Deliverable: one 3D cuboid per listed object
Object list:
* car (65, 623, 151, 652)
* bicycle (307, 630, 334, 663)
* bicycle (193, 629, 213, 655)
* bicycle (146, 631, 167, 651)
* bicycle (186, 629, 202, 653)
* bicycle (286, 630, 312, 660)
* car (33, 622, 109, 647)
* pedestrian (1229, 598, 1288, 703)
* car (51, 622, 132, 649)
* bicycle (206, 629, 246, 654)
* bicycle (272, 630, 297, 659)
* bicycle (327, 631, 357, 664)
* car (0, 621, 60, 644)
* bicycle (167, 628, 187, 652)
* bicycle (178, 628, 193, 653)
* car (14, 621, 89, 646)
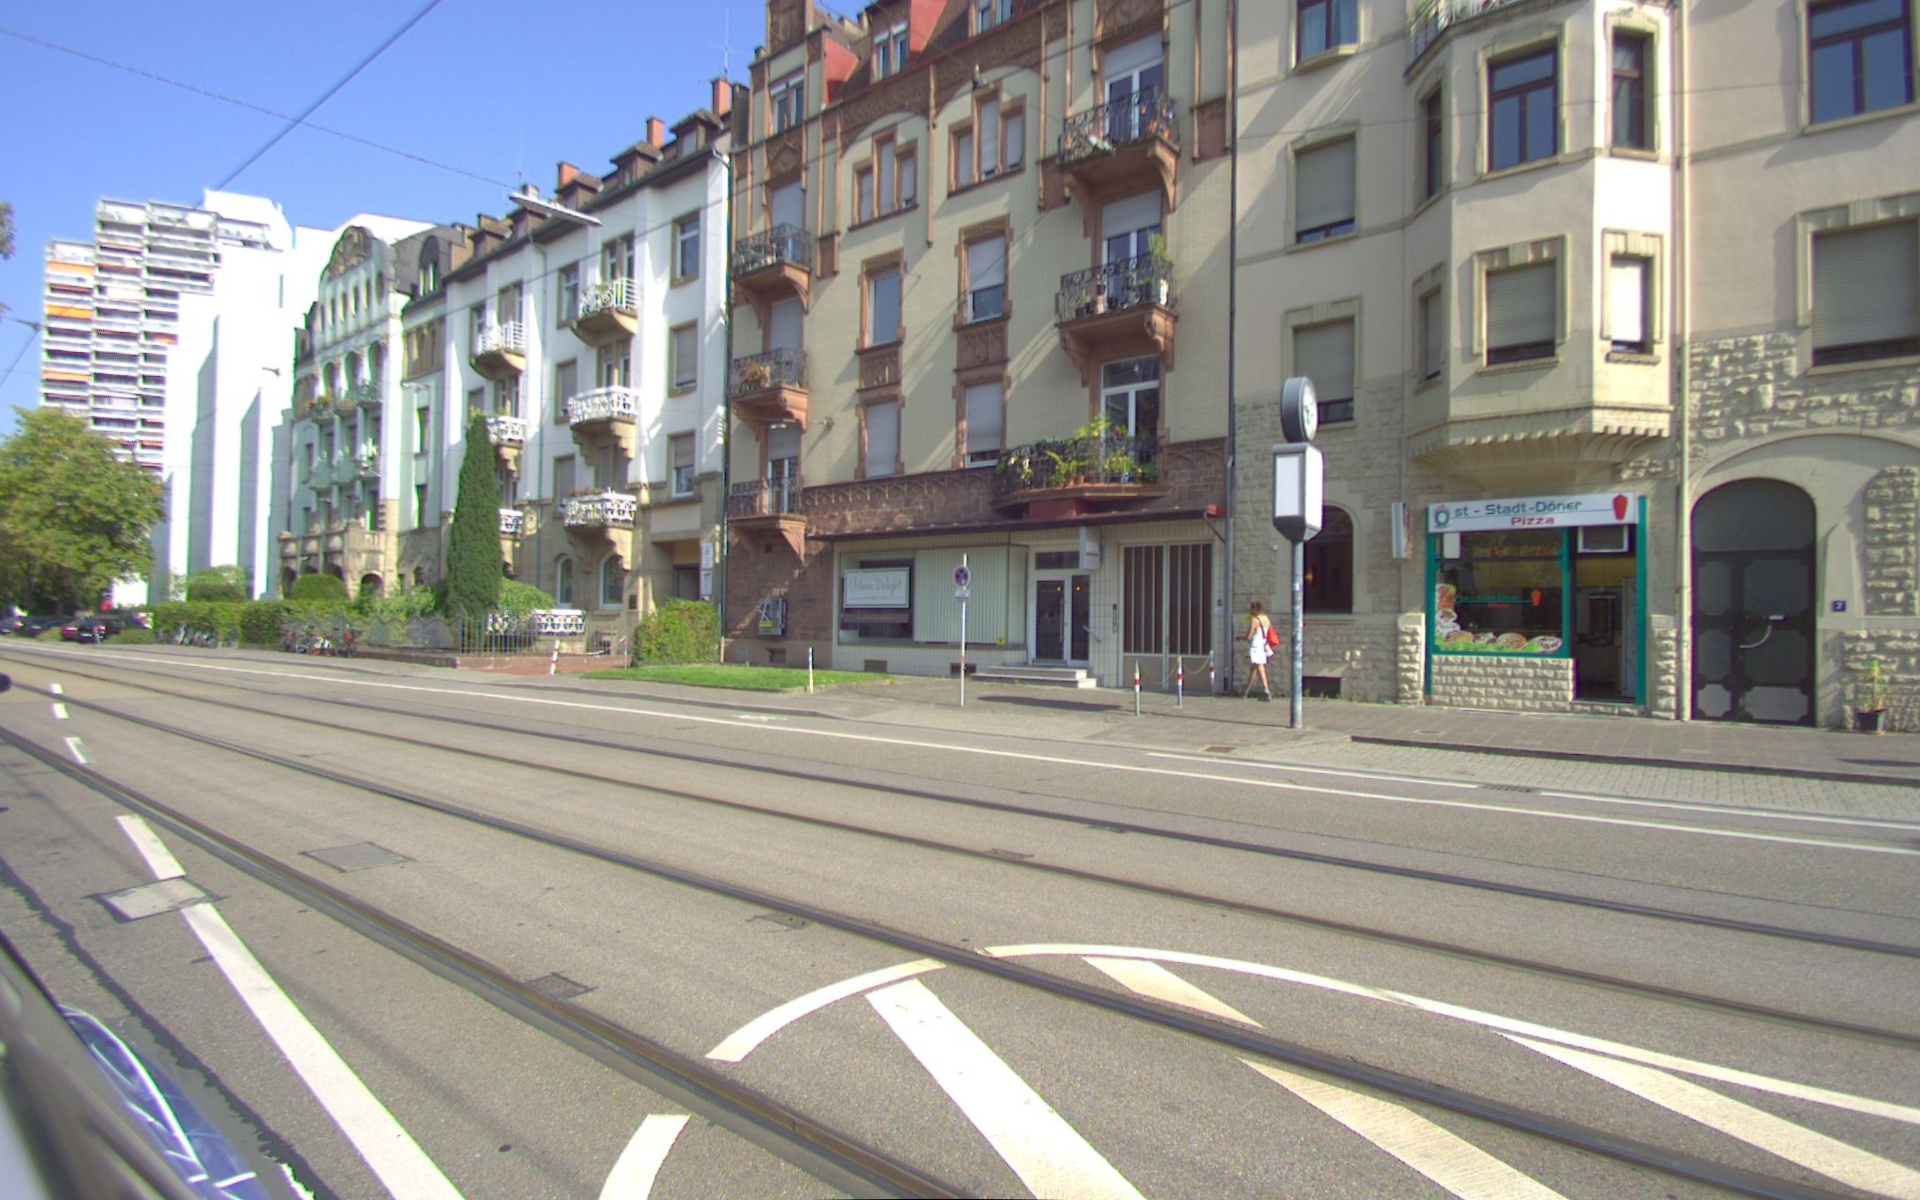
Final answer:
[{"bbox_3d":[-46.311,2.034,55.130,1.744,1.539,4.007,1,-2,-9],"label":"car"},{"bbox_3d":[-22.074,1.595,34.943,1.354,1.096,0.366,-1,-3,40],"label":"bicycle"},{"bbox_3d":[-33.163,1.836,44.335,1.677,1.096,0.419,-1,-3,44],"label":"bicycle"},{"bbox_3d":[-39.445,2.017,49.669,1.768,0.985,0.420,-1,-3,39],"label":"bicycle"},{"bbox_3d":[-34.665,1.855,45.805,0.419,1.096,1.679,3,-3,-41],"label":"bicycle"},{"bbox_3d":[-24.069,1.634,36.856,1.354,1.096,0.366,-1,-3,40],"label":"bicycle"},{"bbox_3d":[-56.706,2.219,64.658,1.744,1.539,4.007,1,-2,-9],"label":"car"},{"bbox_3d":[5.488,0.923,18.618,0.829,1.874,0.766,-1,-3,38],"label":"pedestrian"},{"bbox_3d":[-51.142,2.102,59.685,1.744,1.539,4.007,1,-2,-9],"label":"car"},{"bbox_3d":[-32.006,1.812,44.156,0.423,1.096,1.385,0,-2,22],"label":"bicycle"},{"bbox_3d":[-25.385,1.670,38.039,1.354,1.096,0.366,-1,-3,40],"label":"bicycle"},{"bbox_3d":[-20.667,1.581,33.861,1.486,1.096,0.366,-1,-3,40],"label":"bicycle"},{"bbox_3d":[-66.132,2.294,71.615,1.744,1.539,4.007,1,-2,-9],"label":"car"},{"bbox_3d":[-36.831,1.879,47.608,1.676,1.096,0.420,-1,-3,43],"label":"bicycle"},{"bbox_3d":[-35.377,1.850,46.215,0.419,1.096,1.679,3,-3,-41],"label":"bicycle"},{"bbox_3d":[-59.239,2.213,66.072,1.744,1.539,4.007,1,-2,-9],"label":"car"}]
